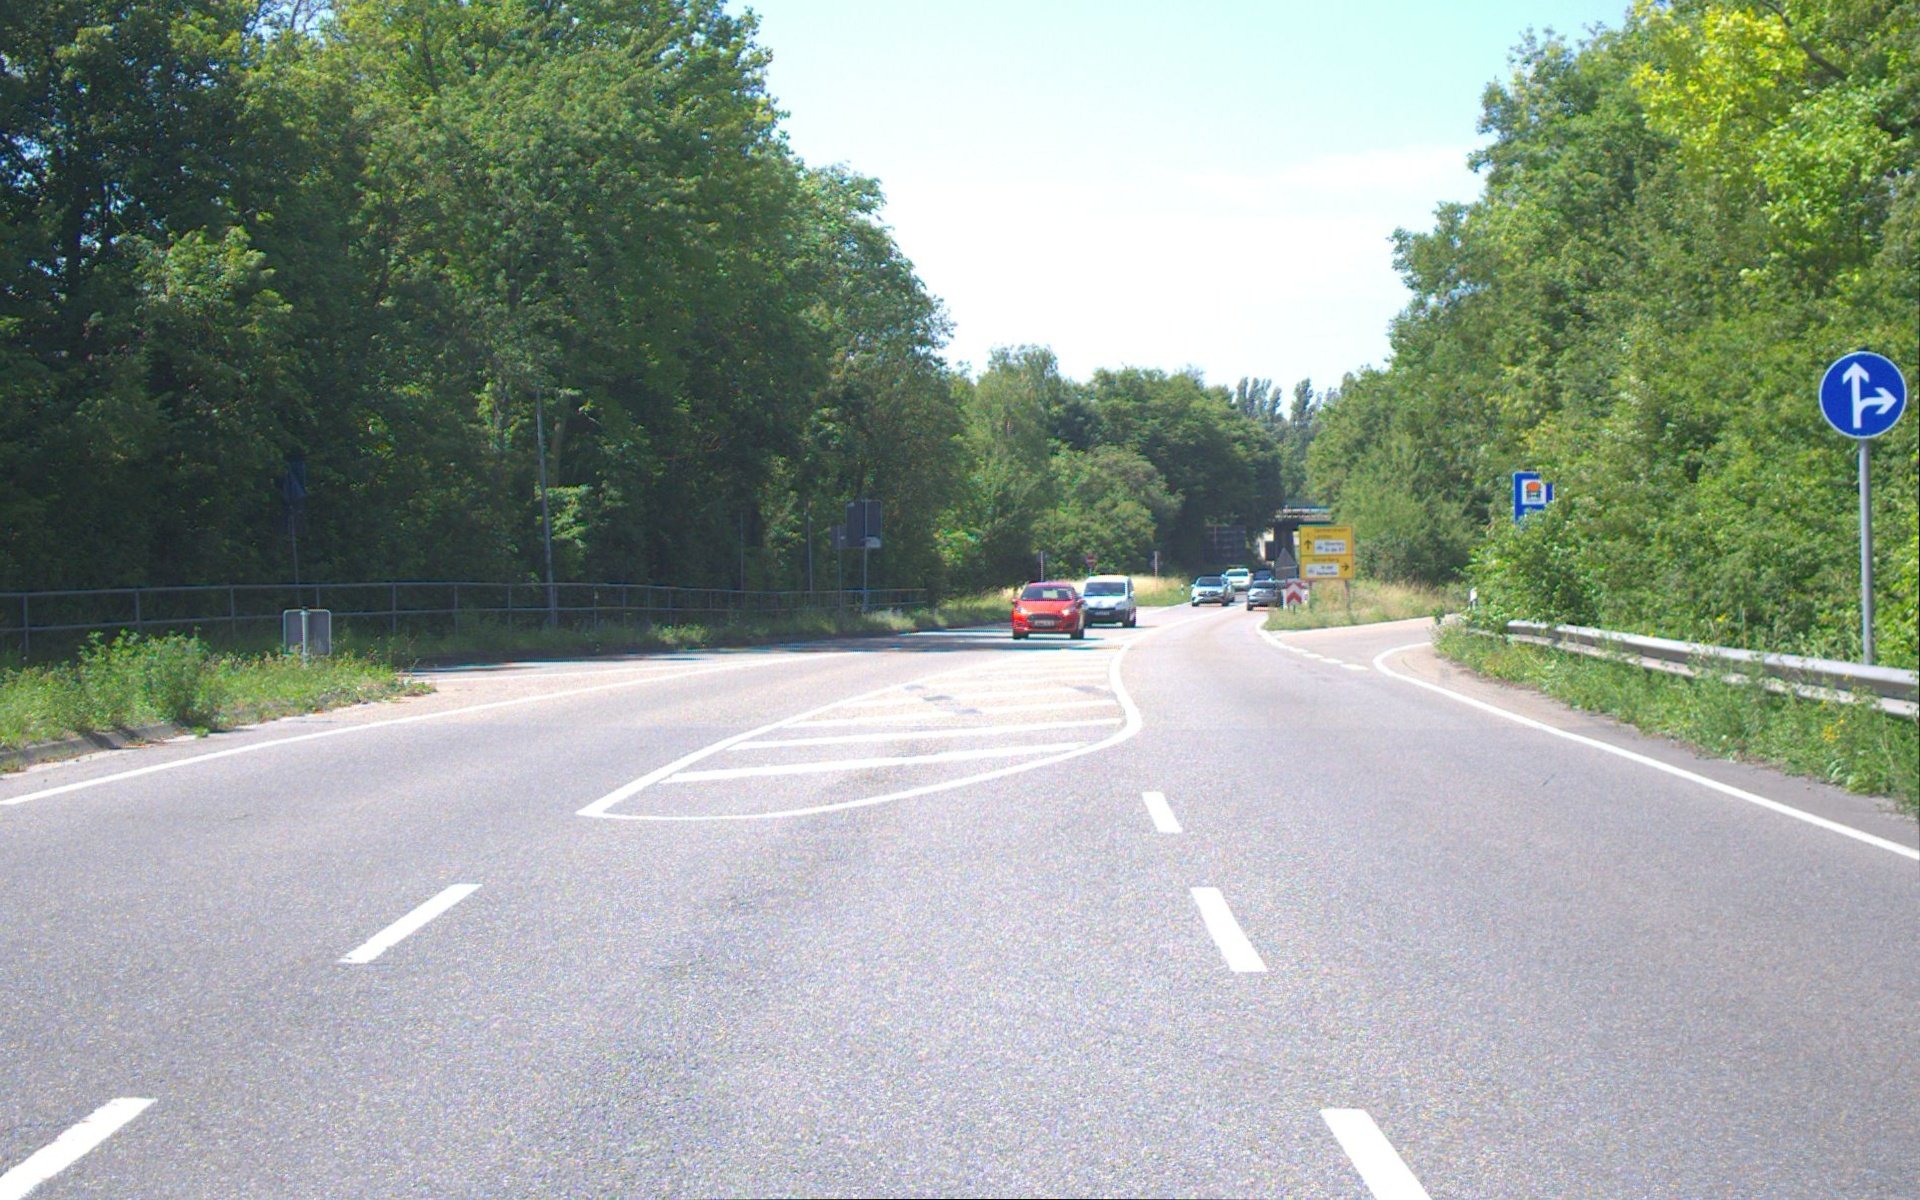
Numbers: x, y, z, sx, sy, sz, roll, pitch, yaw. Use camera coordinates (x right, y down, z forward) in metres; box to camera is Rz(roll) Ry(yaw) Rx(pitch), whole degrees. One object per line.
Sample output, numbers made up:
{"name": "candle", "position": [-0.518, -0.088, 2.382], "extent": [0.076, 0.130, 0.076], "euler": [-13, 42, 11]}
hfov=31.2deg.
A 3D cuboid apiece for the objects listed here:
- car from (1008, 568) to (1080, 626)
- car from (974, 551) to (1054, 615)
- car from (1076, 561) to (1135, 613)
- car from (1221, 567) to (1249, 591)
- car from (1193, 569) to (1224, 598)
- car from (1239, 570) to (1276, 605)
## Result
{"name": "car", "position": [2.176, -0.087, 88.745], "extent": [1.810, 1.453, 3.758], "euler": [0, 1, 1]}
{"name": "car", "position": [2.788, -0.904, 178.018], "extent": [1.993, 3.215, 4.809], "euler": [-1, 1, -28]}
{"name": "car", "position": [5.093, -0.469, 119.967], "extent": [1.994, 1.724, 4.274], "euler": [-1, 1, 3]}
{"name": "car", "position": [18.589, -1.413, 232.220], "extent": [1.720, 1.523, 3.709], "euler": [0, 1, 6]}
{"name": "car", "position": [13.633, -0.925, 188.592], "extent": [1.677, 1.522, 3.999], "euler": [0, 1, 5]}
{"name": "car", "position": [15.073, -0.644, 174.340], "extent": [1.843, 1.679, 4.000], "euler": [0, 1, 4]}
